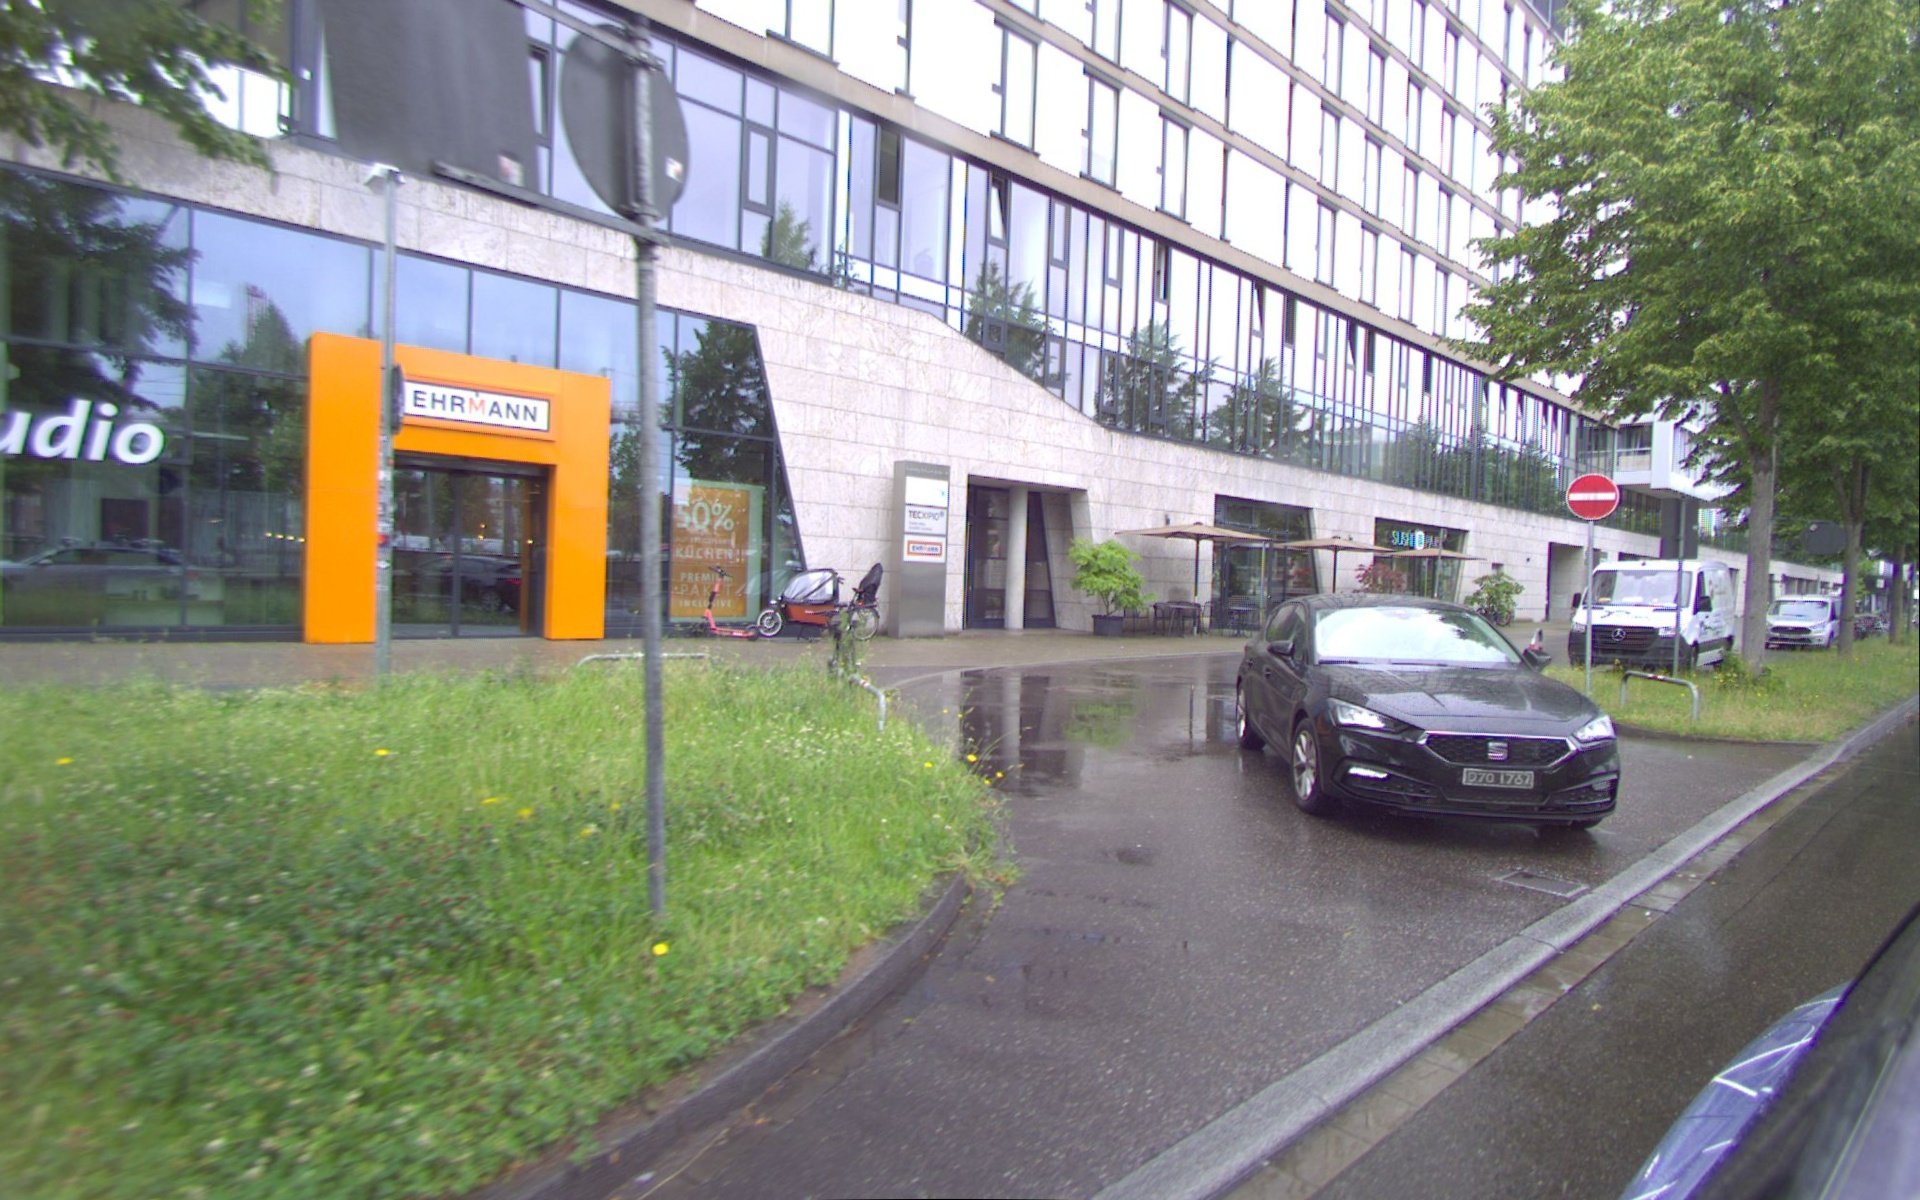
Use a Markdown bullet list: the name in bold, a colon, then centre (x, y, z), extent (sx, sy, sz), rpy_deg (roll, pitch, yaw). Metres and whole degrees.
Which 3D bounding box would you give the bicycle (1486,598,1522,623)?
- **bicycle**: centre (20.852, 0.384, 38.844), extent (0.388, 0.958, 2.028), rpy_deg (0, 0, 3)

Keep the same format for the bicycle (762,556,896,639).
- **bicycle**: centre (-2.335, -0.022, 18.276), extent (2.382, 1.420, 0.734), rpy_deg (1, -1, -41)

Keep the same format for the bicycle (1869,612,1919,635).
- **bicycle**: centre (41.173, 1.013, 44.293), extent (0.459, 0.958, 2.035), rpy_deg (0, 0, -45)

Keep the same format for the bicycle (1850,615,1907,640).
- **bicycle**: centre (36.283, 1.069, 39.978), extent (0.389, 0.958, 1.645), rpy_deg (0, 0, -45)

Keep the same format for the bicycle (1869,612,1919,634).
- **bicycle**: centre (41.799, 1.009, 45.002), extent (0.533, 0.958, 2.035), rpy_deg (0, 0, -45)

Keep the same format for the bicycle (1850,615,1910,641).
- **bicycle**: centre (35.830, 1.079, 39.434), extent (0.389, 0.958, 1.694), rpy_deg (0, 0, -45)

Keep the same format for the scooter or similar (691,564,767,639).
- **scooter or similar**: centre (-3.924, 0.025, 17.214), extent (1.214, 1.243, 0.343), rpy_deg (0, 0, -22)

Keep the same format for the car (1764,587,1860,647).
- **car**: centre (27.601, 0.503, 32.739), extent (4.766, 1.781, 1.744), rpy_deg (0, 1, -42)

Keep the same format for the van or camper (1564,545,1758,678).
- **van or camper**: centre (14.158, 0.169, 20.287), extent (5.367, 2.321, 2.028), rpy_deg (0, 1, -42)

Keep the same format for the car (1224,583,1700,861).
- **car**: centre (3.248, 0.608, 7.629), extent (1.801, 1.438, 4.338), rpy_deg (1, 1, 6)

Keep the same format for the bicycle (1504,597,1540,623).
- **bicycle**: centre (22.061, 0.381, 39.752), extent (0.388, 0.958, 2.028), rpy_deg (0, 0, 3)

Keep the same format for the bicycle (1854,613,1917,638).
- **bicycle**: centre (37.599, 1.033, 41.126), extent (0.389, 0.958, 1.878), rpy_deg (0, 0, -45)

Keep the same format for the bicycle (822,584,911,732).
- **bicycle**: centre (-0.989, 0.537, 10.306), extent (0.521, 1.363, 1.852), rpy_deg (2, 0, -16)

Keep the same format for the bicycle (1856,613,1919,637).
- **bicycle**: centre (38.297, 1.029, 41.724), extent (0.389, 0.958, 2.035), rpy_deg (0, 0, -45)

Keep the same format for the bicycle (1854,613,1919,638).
- **bicycle**: centre (37.962, 1.029, 41.448), extent (0.389, 0.958, 2.002), rpy_deg (0, 0, -45)

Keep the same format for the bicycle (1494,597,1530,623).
- **bicycle**: centre (21.485, 0.381, 39.421), extent (0.388, 0.958, 2.028), rpy_deg (0, 0, 3)

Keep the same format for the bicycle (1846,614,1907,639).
- **bicycle**: centre (36.591, 1.040, 40.407), extent (0.389, 0.958, 1.788), rpy_deg (0, 0, -45)

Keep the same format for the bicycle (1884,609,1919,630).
- **bicycle**: centre (45.250, 0.924, 48.047), extent (0.511, 0.958, 2.035), rpy_deg (0, 0, -45)

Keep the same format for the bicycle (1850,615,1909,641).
- **bicycle**: centre (35.354, 1.061, 38.914), extent (0.389, 0.958, 1.662), rpy_deg (0, 0, -45)

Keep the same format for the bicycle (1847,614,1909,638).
- **bicycle**: centre (37.063, 1.037, 40.881), extent (0.389, 0.958, 1.857), rpy_deg (0, 0, -45)

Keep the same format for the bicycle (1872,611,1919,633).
- **bicycle**: centre (42.732, 1.004, 45.903), extent (0.532, 0.958, 2.035), rpy_deg (0, 0, -45)
